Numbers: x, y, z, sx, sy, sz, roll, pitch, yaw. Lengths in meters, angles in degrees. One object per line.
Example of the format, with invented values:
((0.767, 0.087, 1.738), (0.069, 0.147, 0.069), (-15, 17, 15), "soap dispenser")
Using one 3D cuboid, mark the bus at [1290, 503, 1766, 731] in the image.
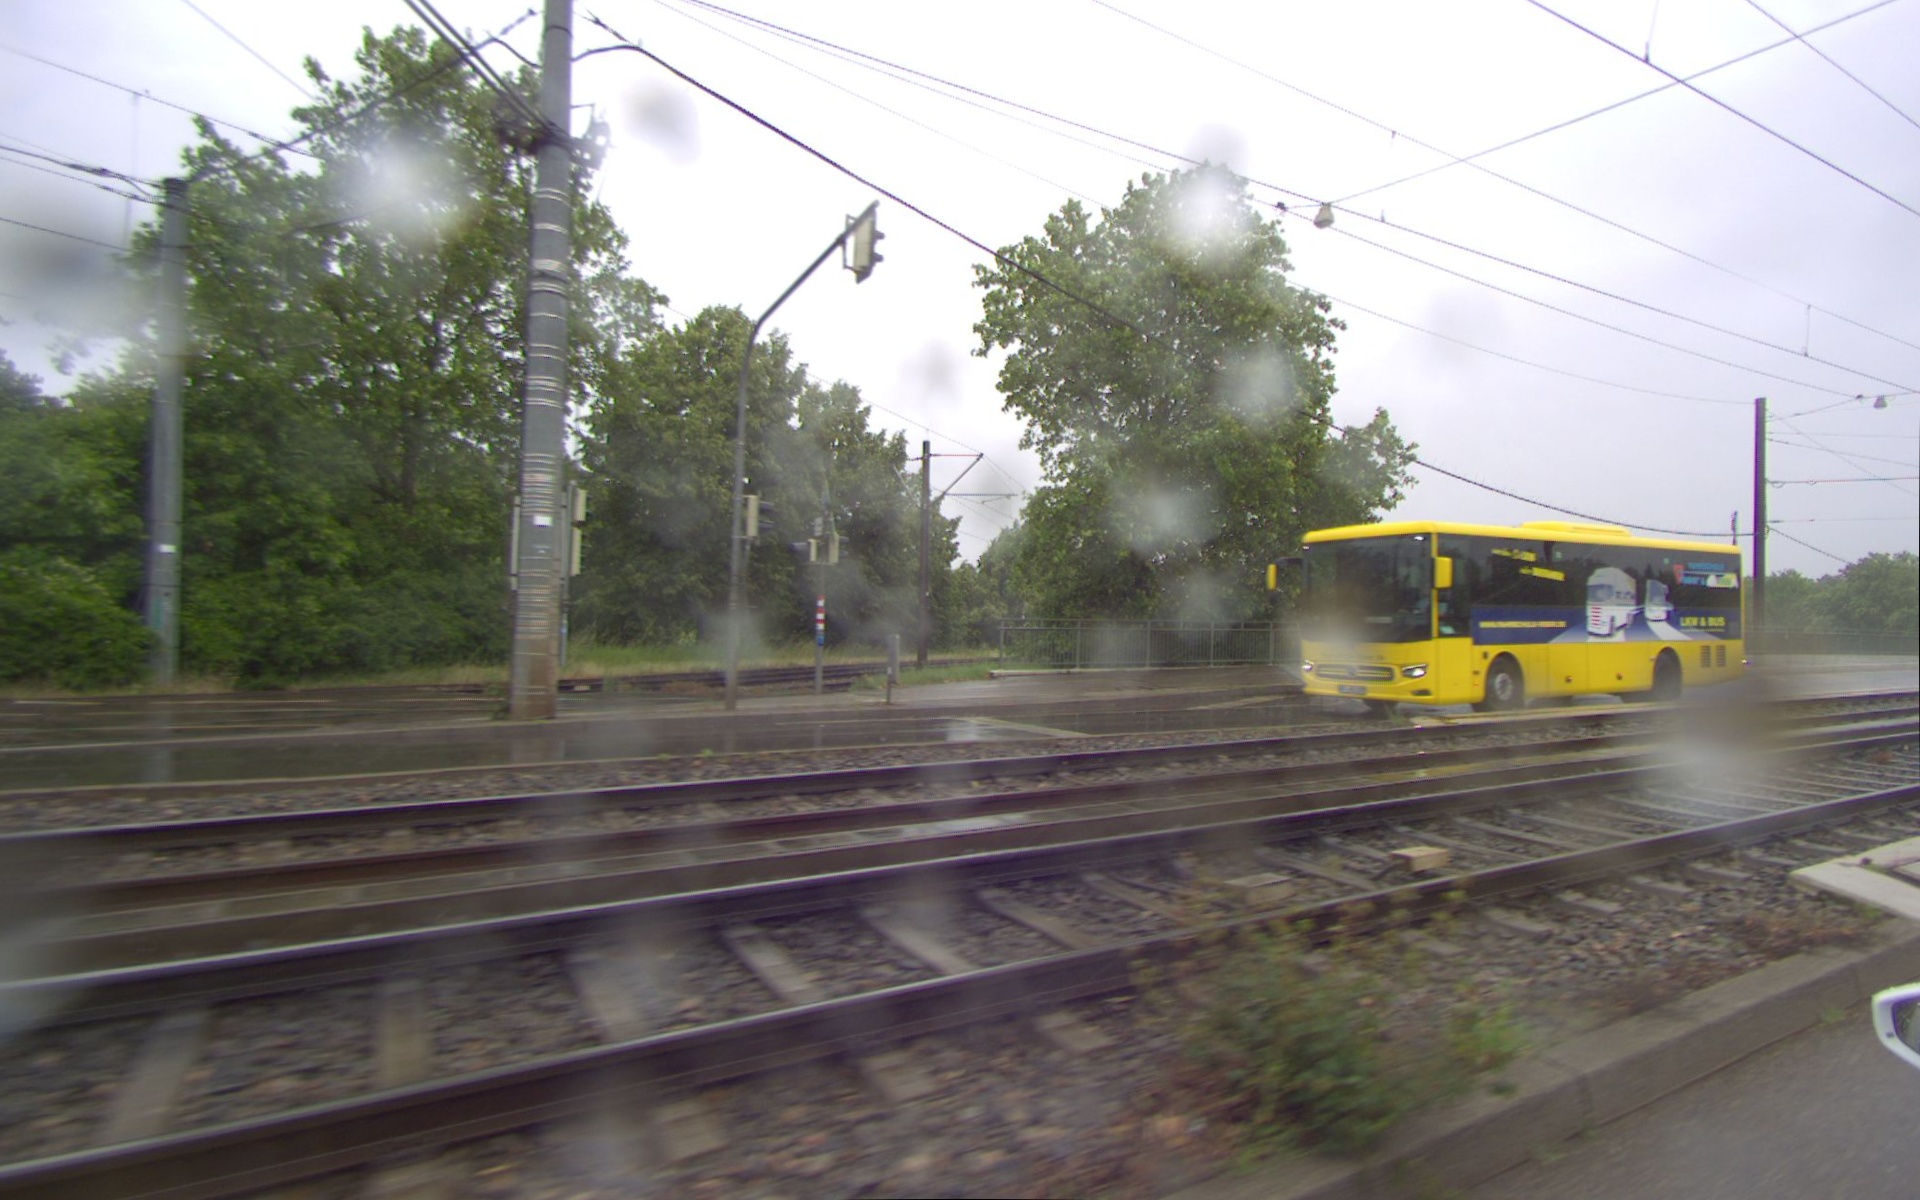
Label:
((11.044, 0.327, 18.872), (10.864, 3.385, 2.696), (0, -2, -31), "bus")
